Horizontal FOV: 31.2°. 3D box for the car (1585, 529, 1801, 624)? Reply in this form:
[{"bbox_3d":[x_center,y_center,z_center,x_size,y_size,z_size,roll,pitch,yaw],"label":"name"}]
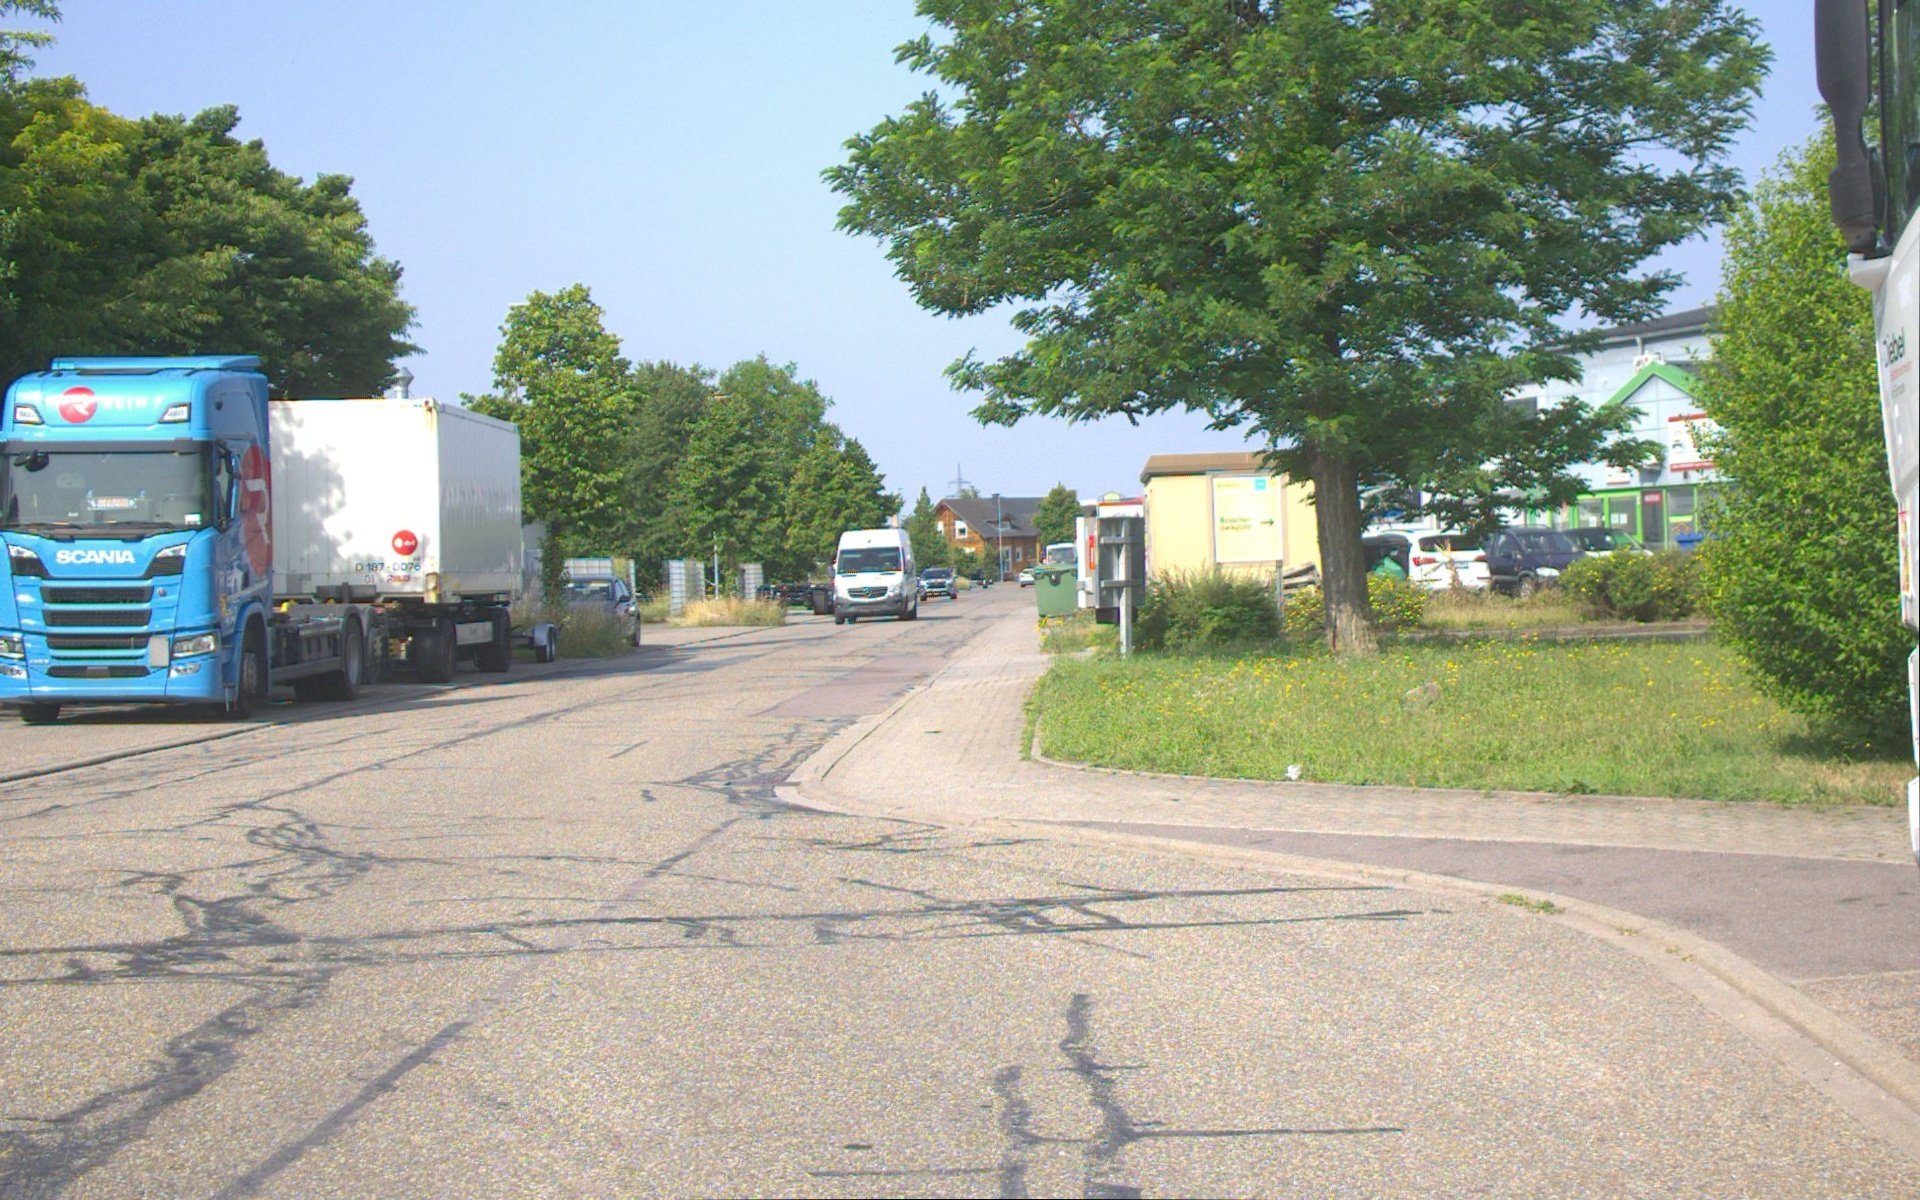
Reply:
[{"bbox_3d":[11.019,-0.333,51.897,1.748,1.368,3.664,0,0,-14],"label":"car"}]

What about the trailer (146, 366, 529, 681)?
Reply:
[{"bbox_3d":[-8.332,-0.904,47.820,2.831,3.830,12.035,0,0,2],"label":"trailer"}]

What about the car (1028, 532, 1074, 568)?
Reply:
[{"bbox_3d":[4.805,-2.649,181.702,1.770,1.809,4.001,0,0,-8],"label":"car"}]

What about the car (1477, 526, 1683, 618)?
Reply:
[{"bbox_3d":[9.243,-0.398,51.518,1.667,1.325,3.664,0,0,-14],"label":"car"}]

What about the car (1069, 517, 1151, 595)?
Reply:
[{"bbox_3d":[3.454,-0.998,79.675,1.792,1.744,4.000,0,0,1],"label":"car"}]

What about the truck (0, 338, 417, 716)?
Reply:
[{"bbox_3d":[-8.551,-0.721,39.573,2.825,3.813,9.672,0,0,2],"label":"truck"}]

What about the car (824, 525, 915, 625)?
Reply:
[{"bbox_3d":[-2.557,-0.647,95.415,2.214,2.677,6.854,0,0,-4],"label":"car"}]

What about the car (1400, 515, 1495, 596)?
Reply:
[{"bbox_3d":[10.003,-0.893,70.759,1.718,1.612,3.999,0,0,5],"label":"car"}]

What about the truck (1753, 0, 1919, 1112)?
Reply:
[{"bbox_3d":[3.694,-0.730,7.983,2.746,3.968,4.000,-4,0,2],"label":"truck"}]

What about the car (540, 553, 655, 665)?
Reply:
[{"bbox_3d":[-6.919,0.143,65.405,1.993,2.007,4.001,-2,1,-8],"label":"car"}]

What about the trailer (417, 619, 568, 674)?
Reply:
[{"bbox_3d":[-7.783,0.767,57.583,1.896,0.758,4.000,-2,1,1],"label":"trailer"}]

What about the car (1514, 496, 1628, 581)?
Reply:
[{"bbox_3d":[12.459,-1.229,70.246,1.792,1.634,4.000,0,0,3],"label":"car"}]

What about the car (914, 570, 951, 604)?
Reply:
[{"bbox_3d":[-1.431,-0.650,174.947,1.639,1.656,4.000,0,0,-4],"label":"car"}]
